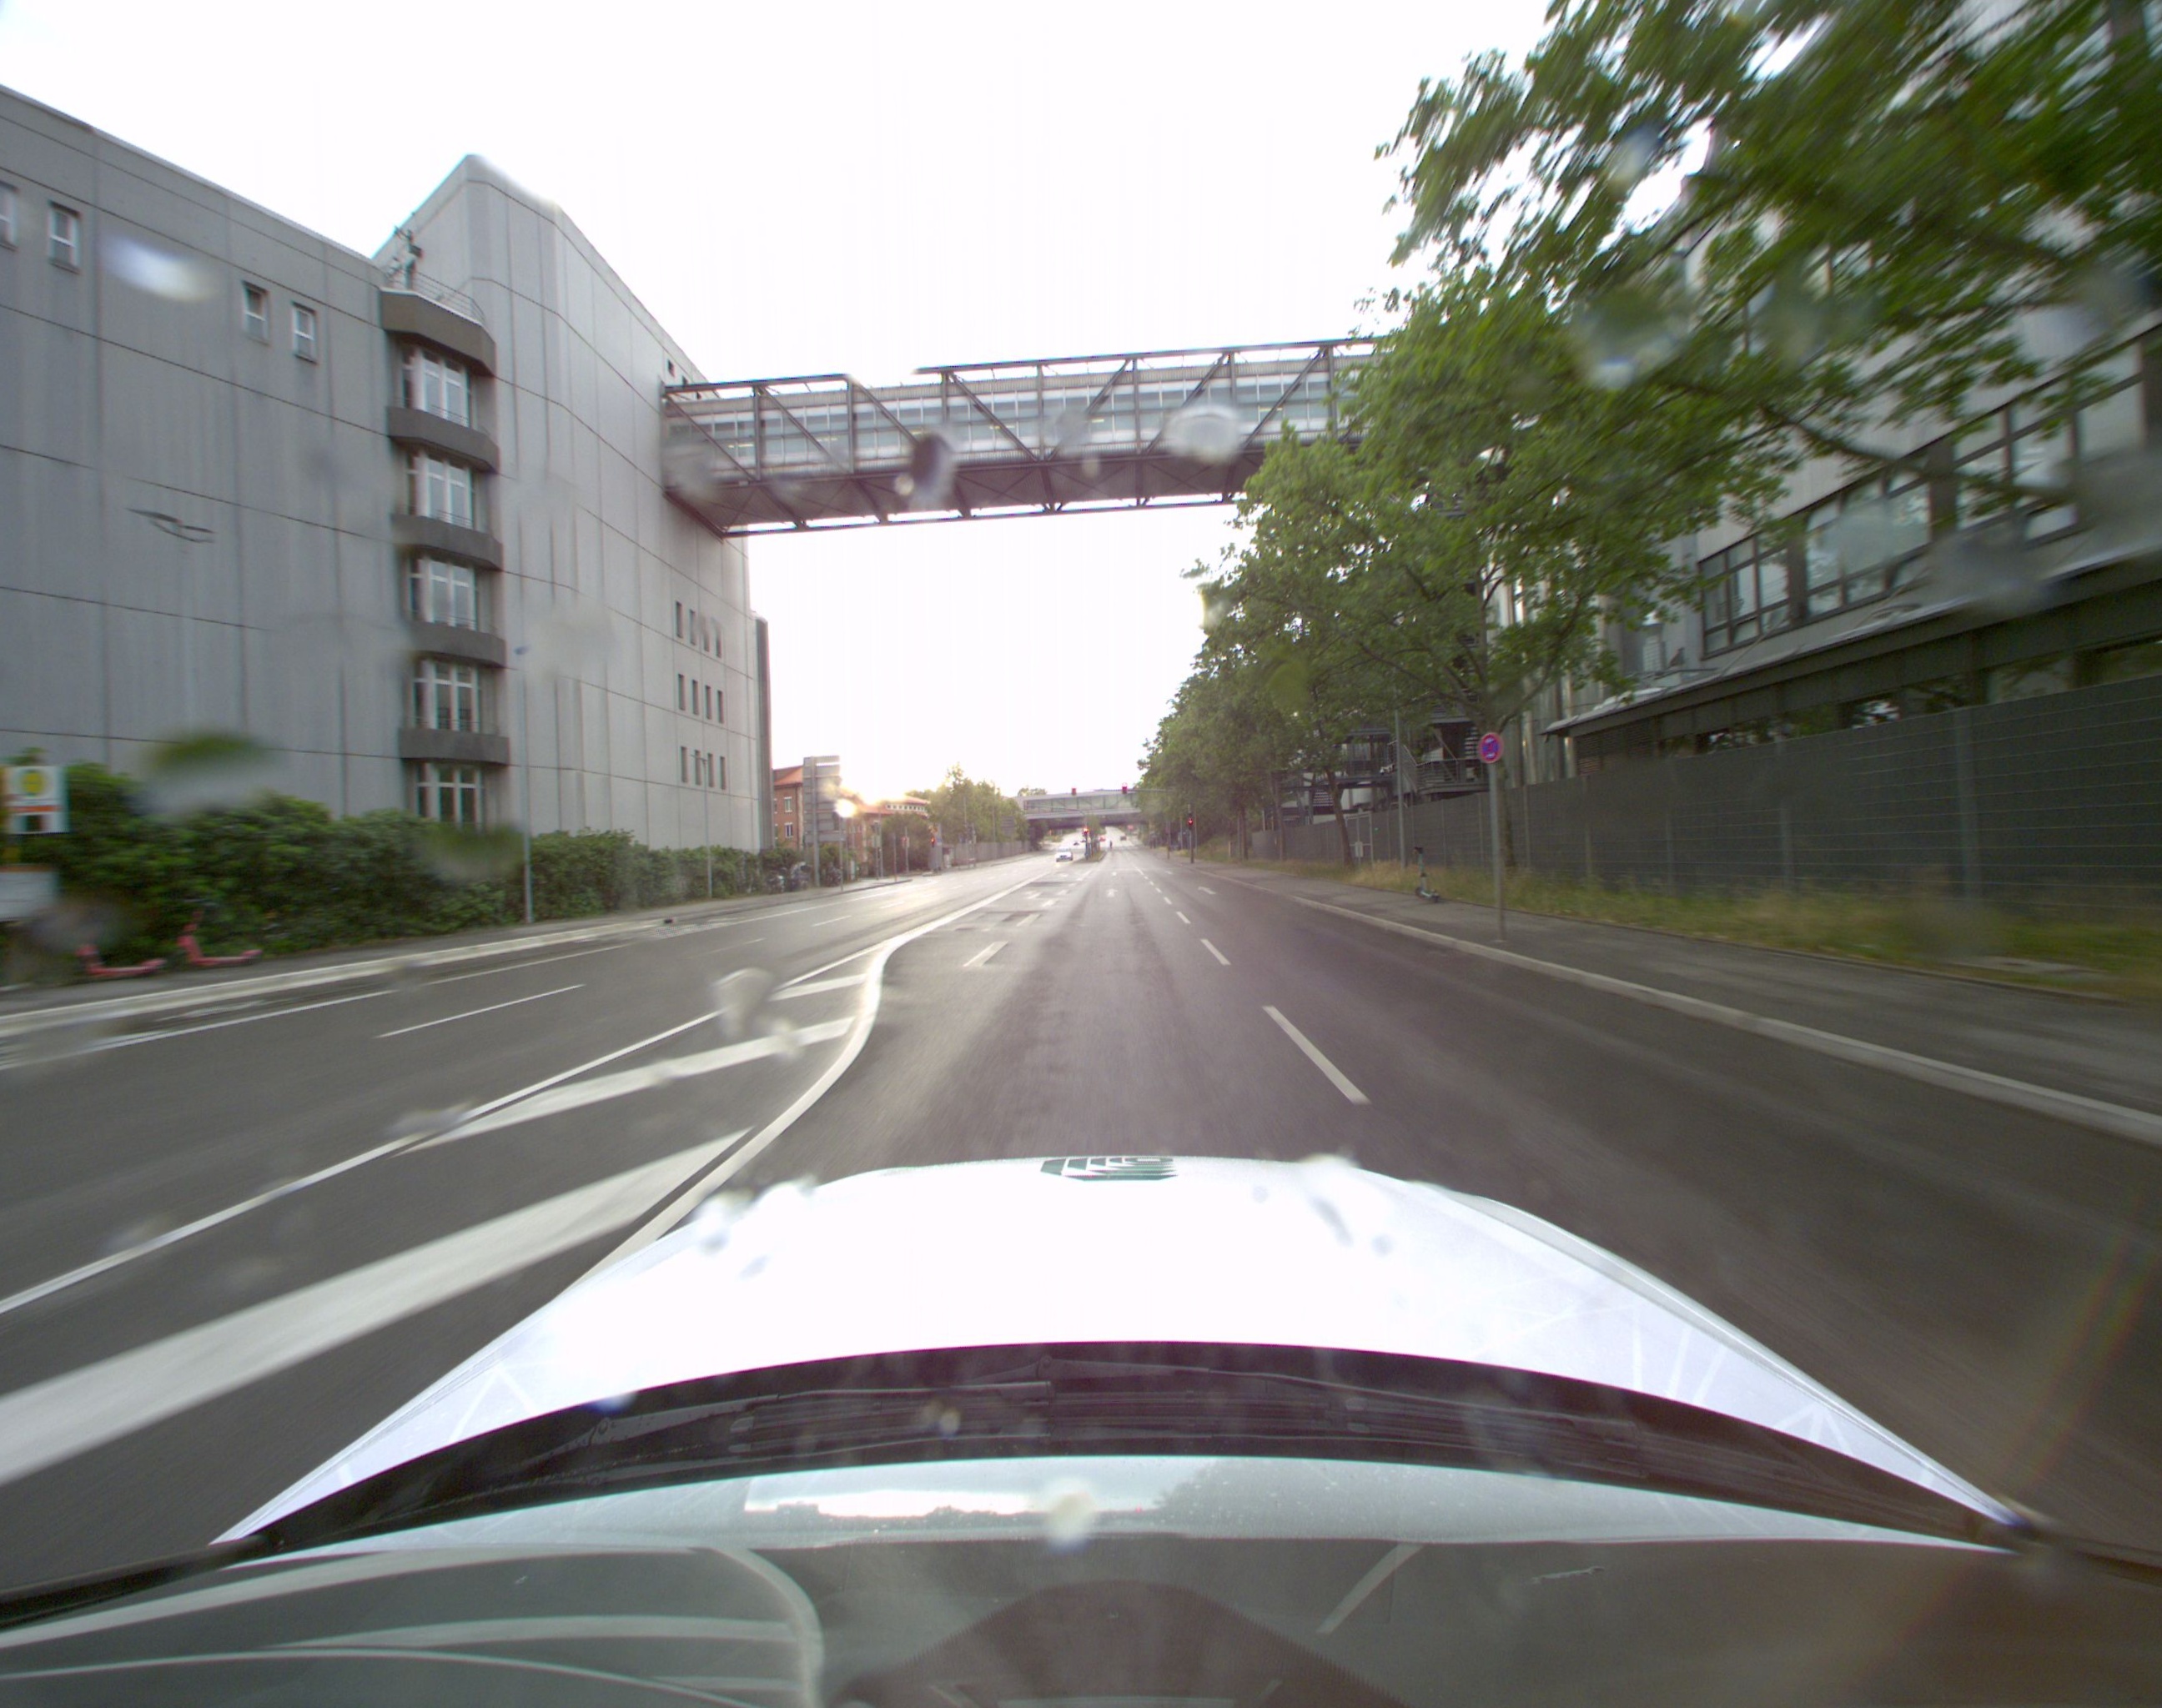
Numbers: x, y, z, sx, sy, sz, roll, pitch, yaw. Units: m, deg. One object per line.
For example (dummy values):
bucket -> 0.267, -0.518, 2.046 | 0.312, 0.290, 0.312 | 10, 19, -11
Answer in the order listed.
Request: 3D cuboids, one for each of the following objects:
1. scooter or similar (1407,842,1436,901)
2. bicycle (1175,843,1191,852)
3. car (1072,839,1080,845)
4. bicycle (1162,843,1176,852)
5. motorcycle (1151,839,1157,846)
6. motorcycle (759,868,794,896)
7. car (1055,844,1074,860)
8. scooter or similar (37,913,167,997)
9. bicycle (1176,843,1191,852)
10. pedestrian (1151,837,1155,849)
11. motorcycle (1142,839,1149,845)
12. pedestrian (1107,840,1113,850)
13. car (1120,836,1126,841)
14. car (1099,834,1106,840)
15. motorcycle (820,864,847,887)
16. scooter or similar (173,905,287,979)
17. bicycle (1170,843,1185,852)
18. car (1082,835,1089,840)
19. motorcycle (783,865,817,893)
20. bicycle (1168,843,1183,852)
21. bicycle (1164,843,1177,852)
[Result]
scooter or similar -> 7.623, 0.375, 18.269 | 0.326, 1.269, 1.112 | -3, 0, 11
bicycle -> 13.442, -0.859, 107.234 | 1.982, 1.094, 0.542 | 0, -1, 3
car -> -1.447, -3.546, 236.134 | 1.869, 1.624, 3.782 | -3, 1, 3
bicycle -> 12.878, -0.901, 118.737 | 1.982, 1.328, 0.577 | 0, -1, 3
motorcycle -> 15.503, -2.407, 173.267 | 0.789, 1.311, 2.372 | -4, 0, -5
motorcycle -> -14.979, 1.363, 40.074 | 0.782, 1.250, 2.158 | -3, 0, 2
car -> -1.892, -0.229, 93.385 | 1.869, 1.624, 3.782 | -3, 1, 3
scooter or similar -> -15.755, 1.596, 13.138 | 0.385, 1.180, 1.255 | -3, 0, 16
bicycle -> 13.410, -0.861, 106.666 | 1.982, 1.094, 0.542 | 0, -1, 3
pedestrian -> 12.910, -1.933, 145.597 | 0.619, 2.013, 0.606 | -4, 0, 3
motorcycle -> 14.075, -2.642, 178.278 | 0.791, 1.311, 2.364 | -4, 0, -15
pedestrian -> 6.072, -1.947, 171.950 | 0.864, 2.004, 0.859 | -3, 0, 20
car -> 13.194, -4.816, 255.293 | 1.867, 1.497, 4.071 | 0, 0, 3
car -> 6.873, -5.299, 260.244 | 1.985, 1.762, 4.003 | 0, 0, 3
motorcycle -> -14.675, 1.256, 48.310 | 0.782, 1.247, 2.158 | -3, 0, 2
scooter or similar -> -15.460, 1.571, 14.838 | 0.375, 1.181, 1.383 | -3, 0, 16
bicycle -> 12.840, -0.907, 108.724 | 1.982, 1.216, 0.542 | 0, -1, 3
car -> 1.439, -5.233, 261.628 | 1.869, 1.624, 3.782 | -3, 1, 3
motorcycle -> -14.713, 1.280, 42.707 | 0.781, 1.347, 2.371 | -3, 0, 2
bicycle -> 12.927, -0.902, 110.914 | 1.982, 1.233, 0.542 | 0, -1, 3
bicycle -> 13.237, -0.958, 120.401 | 1.982, 1.430, 0.723 | 0, -1, 3
